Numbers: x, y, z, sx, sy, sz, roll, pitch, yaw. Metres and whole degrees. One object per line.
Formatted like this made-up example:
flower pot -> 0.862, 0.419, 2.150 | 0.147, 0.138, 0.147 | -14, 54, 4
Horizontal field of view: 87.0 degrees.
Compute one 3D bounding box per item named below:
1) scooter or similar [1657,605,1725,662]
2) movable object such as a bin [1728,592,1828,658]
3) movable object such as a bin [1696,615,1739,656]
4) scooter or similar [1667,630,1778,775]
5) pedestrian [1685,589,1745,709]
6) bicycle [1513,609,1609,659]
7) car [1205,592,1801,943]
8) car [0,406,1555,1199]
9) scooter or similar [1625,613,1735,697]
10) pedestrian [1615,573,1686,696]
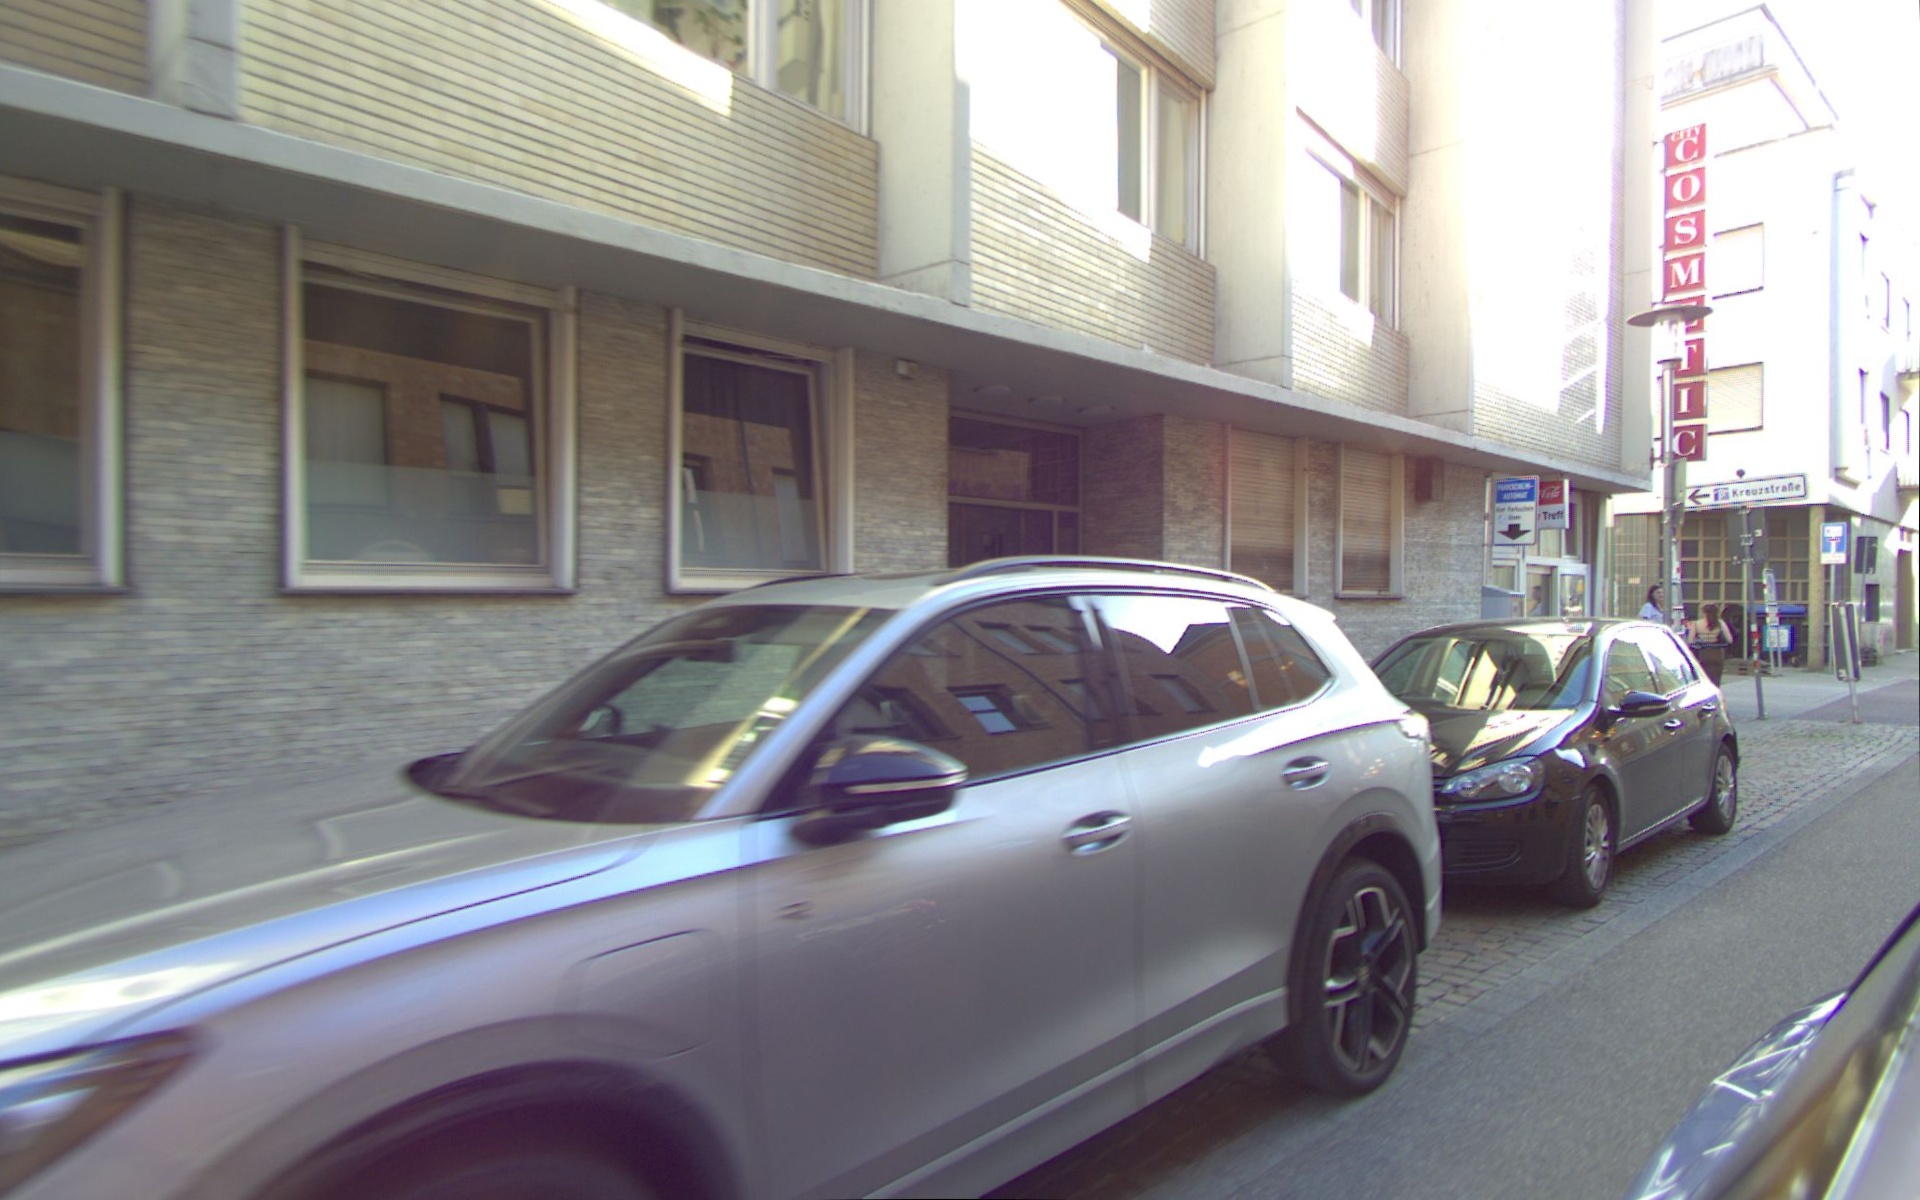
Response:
scooter or similar -> 16.467, 0.738, 22.808 | 0.489, 1.238, 1.161 | 0, 0, -41
movable object such as a bin -> 18.968, 0.556, 23.512 | 1.411, 1.481, 1.126 | 0, 0, 9
movable object such as a bin -> 17.941, 0.832, 23.978 | 0.587, 0.938, 0.606 | 0, 0, 9
scooter or similar -> 7.127, 0.910, 9.504 | 0.488, 1.209, 1.297 | 0, 0, 21
pedestrian -> 10.227, 0.647, 13.723 | 0.570, 1.559, 0.436 | 3, 2, 34
bicycle -> 14.499, 0.798, 24.465 | 0.669, 1.141, 1.893 | 0, -1, -35
car -> 3.743, 0.759, 6.584 | 4.518, 1.524, 1.826 | 0, -3, -40
car -> -0.231, 0.674, 3.041 | 4.758, 1.724, 1.996 | 0, -2, -41
scooter or similar -> 11.013, 0.823, 15.517 | 1.026, 1.191, 0.871 | 2, 0, 3
pedestrian -> 10.149, 0.493, 14.893 | 0.611, 1.758, 0.626 | 0, 0, 4
